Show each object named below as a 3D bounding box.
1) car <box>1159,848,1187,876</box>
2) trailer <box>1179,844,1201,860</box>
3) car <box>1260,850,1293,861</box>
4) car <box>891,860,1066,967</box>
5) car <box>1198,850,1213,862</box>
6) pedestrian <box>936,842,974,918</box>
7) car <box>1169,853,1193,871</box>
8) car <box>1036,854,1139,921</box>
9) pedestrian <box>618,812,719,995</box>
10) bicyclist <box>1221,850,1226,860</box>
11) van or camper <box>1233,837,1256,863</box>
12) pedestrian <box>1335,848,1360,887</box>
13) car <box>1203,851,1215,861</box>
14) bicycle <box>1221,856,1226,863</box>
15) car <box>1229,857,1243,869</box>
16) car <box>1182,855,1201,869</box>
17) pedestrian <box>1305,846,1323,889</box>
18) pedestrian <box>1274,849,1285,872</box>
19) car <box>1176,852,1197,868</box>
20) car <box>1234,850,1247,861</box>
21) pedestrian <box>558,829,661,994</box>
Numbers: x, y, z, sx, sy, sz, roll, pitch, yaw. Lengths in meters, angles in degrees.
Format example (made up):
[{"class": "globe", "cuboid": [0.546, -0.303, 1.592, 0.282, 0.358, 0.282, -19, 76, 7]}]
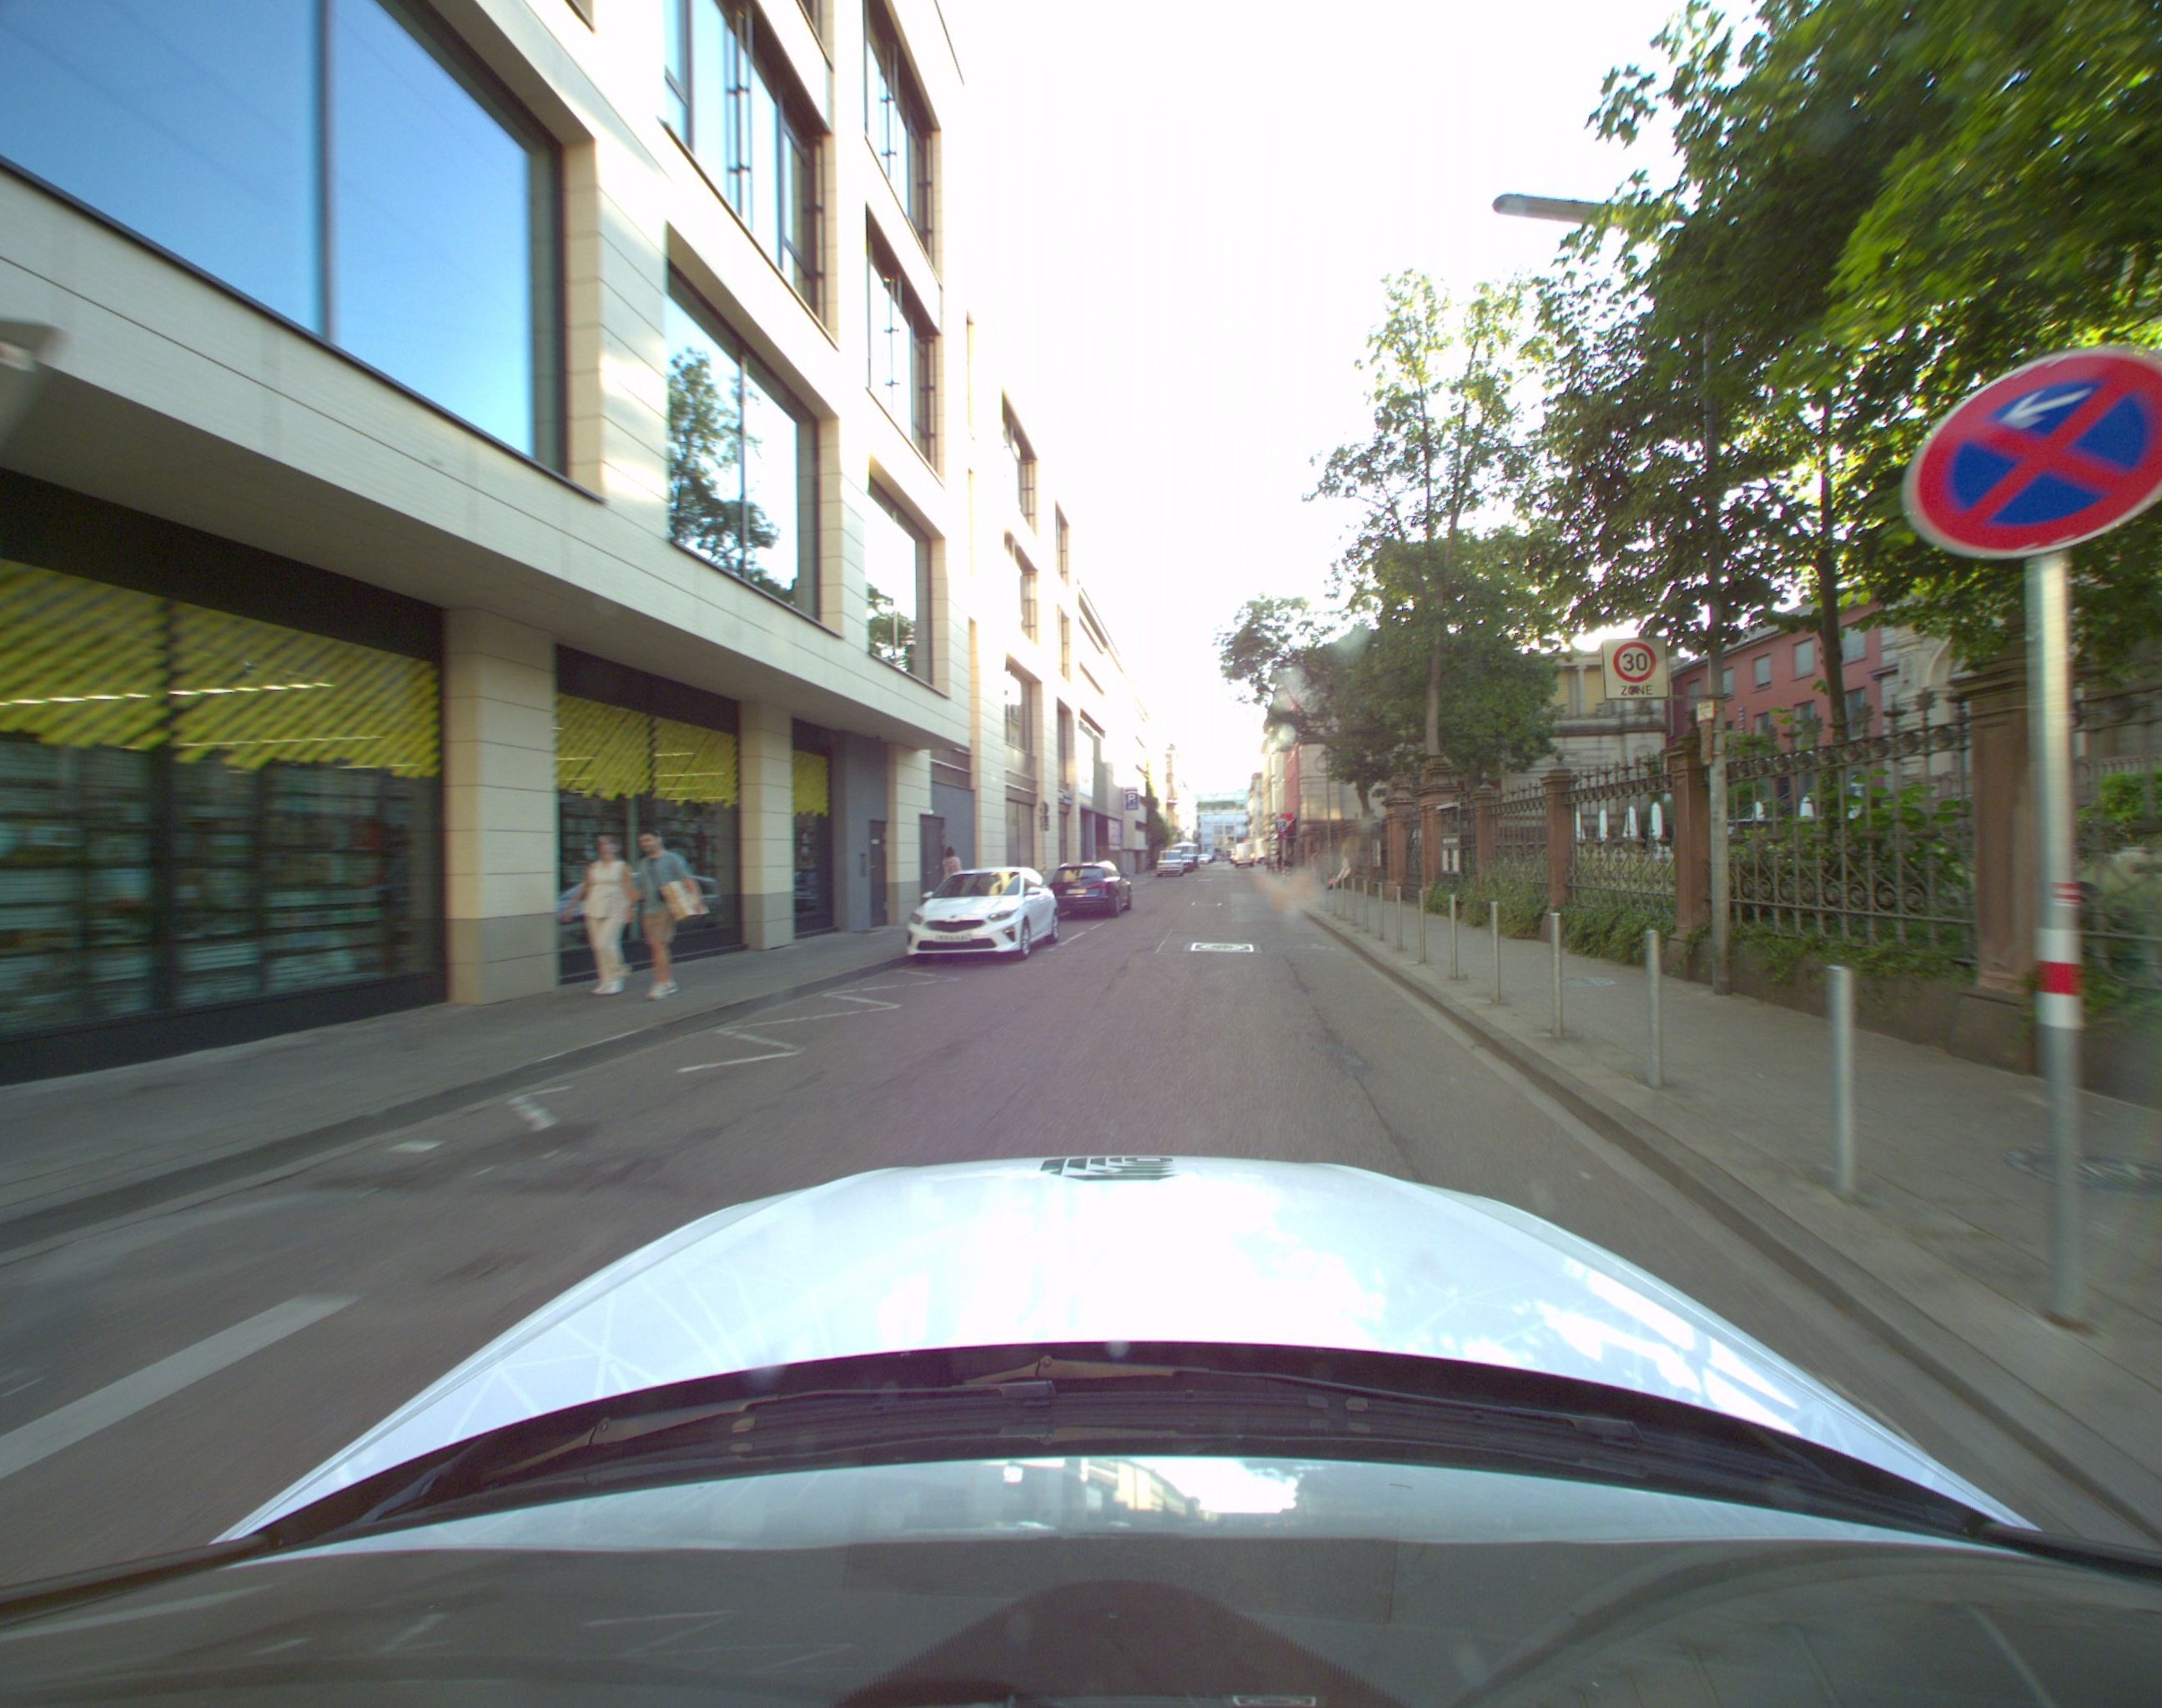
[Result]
[{"class": "car", "cuboid": [6.870, 0.560, 60.436, 1.872, 1.912, 4.759, -1, 0, 8]}, {"class": "trailer", "cuboid": [10.826, -0.190, 80.677, 1.982, 1.557, 4.010, -1, -1, 9]}, {"class": "car", "cuboid": [24.523, 0.186, 102.376, 3.962, 1.420, 1.661, -1, -1, 10]}, {"class": "car", "cuboid": [-1.498, 0.866, 13.617, 1.767, 1.453, 4.241, -1, 0, 9]}, {"class": "car", "cuboid": [18.185, 0.342, 118.944, 1.981, 1.684, 4.011, -1, -1, 10]}, {"class": "pedestrian", "cuboid": [-2.932, 0.598, 19.054, 0.668, 1.744, 0.649, -1, 0, 10]}, {"class": "car", "cuboid": [8.812, 0.663, 71.622, 1.872, 1.453, 4.010, -1, 0, 9]}, {"class": "car", "cuboid": [0.305, 0.836, 22.453, 1.871, 1.598, 4.705, -1, 0, 12]}, {"class": "pedestrian", "cuboid": [-4.316, 0.503, 8.560, 0.668, 1.836, 0.649, -1, 0, 7]}, {"class": "bicyclist", "cuboid": [26.787, 0.253, 153.134, 0.984, 1.868, 0.710, -1, -1, 10]}, {"class": "van or camper", "cuboid": [18.533, -0.430, 92.518, 2.244, 2.607, 5.126, -5, -1, 10]}, {"class": "pedestrian", "cuboid": [10.449, 0.531, 31.985, 0.746, 1.500, 0.619, -3, 0, 5]}, {"class": "car", "cuboid": [22.209, 0.350, 141.318, 1.981, 1.684, 4.011, -1, -1, 10]}, {"class": "bicycle", "cuboid": [26.871, 0.968, 153.436, 0.969, 1.280, 2.762, -1, -1, 10]}, {"class": "car", "cuboid": [22.230, 1.345, 116.712, 1.981, 1.684, 4.011, -1, -1, 10]}, {"class": "car", "cuboid": [11.600, 0.809, 85.208, 1.872, 1.453, 4.010, -1, 0, 9]}, {"class": "pedestrian", "cuboid": [9.309, 0.542, 32.548, 0.482, 1.658, 0.619, -3, 0, 3]}, {"class": "pedestrian", "cuboid": [14.488, 0.482, 59.387, 0.657, 1.666, 0.626, -3, 0, 10]}, {"class": "car", "cuboid": [9.937, 0.556, 76.631, 1.872, 1.453, 4.010, -1, 0, 9]}, {"class": "car", "cuboid": [25.093, 0.195, 128.442, 1.981, 1.684, 4.011, -1, -1, 10]}, {"class": "pedestrian", "cuboid": [-4.984, 0.584, 8.640, 0.668, 1.675, 0.649, -1, 0, 7]}]
